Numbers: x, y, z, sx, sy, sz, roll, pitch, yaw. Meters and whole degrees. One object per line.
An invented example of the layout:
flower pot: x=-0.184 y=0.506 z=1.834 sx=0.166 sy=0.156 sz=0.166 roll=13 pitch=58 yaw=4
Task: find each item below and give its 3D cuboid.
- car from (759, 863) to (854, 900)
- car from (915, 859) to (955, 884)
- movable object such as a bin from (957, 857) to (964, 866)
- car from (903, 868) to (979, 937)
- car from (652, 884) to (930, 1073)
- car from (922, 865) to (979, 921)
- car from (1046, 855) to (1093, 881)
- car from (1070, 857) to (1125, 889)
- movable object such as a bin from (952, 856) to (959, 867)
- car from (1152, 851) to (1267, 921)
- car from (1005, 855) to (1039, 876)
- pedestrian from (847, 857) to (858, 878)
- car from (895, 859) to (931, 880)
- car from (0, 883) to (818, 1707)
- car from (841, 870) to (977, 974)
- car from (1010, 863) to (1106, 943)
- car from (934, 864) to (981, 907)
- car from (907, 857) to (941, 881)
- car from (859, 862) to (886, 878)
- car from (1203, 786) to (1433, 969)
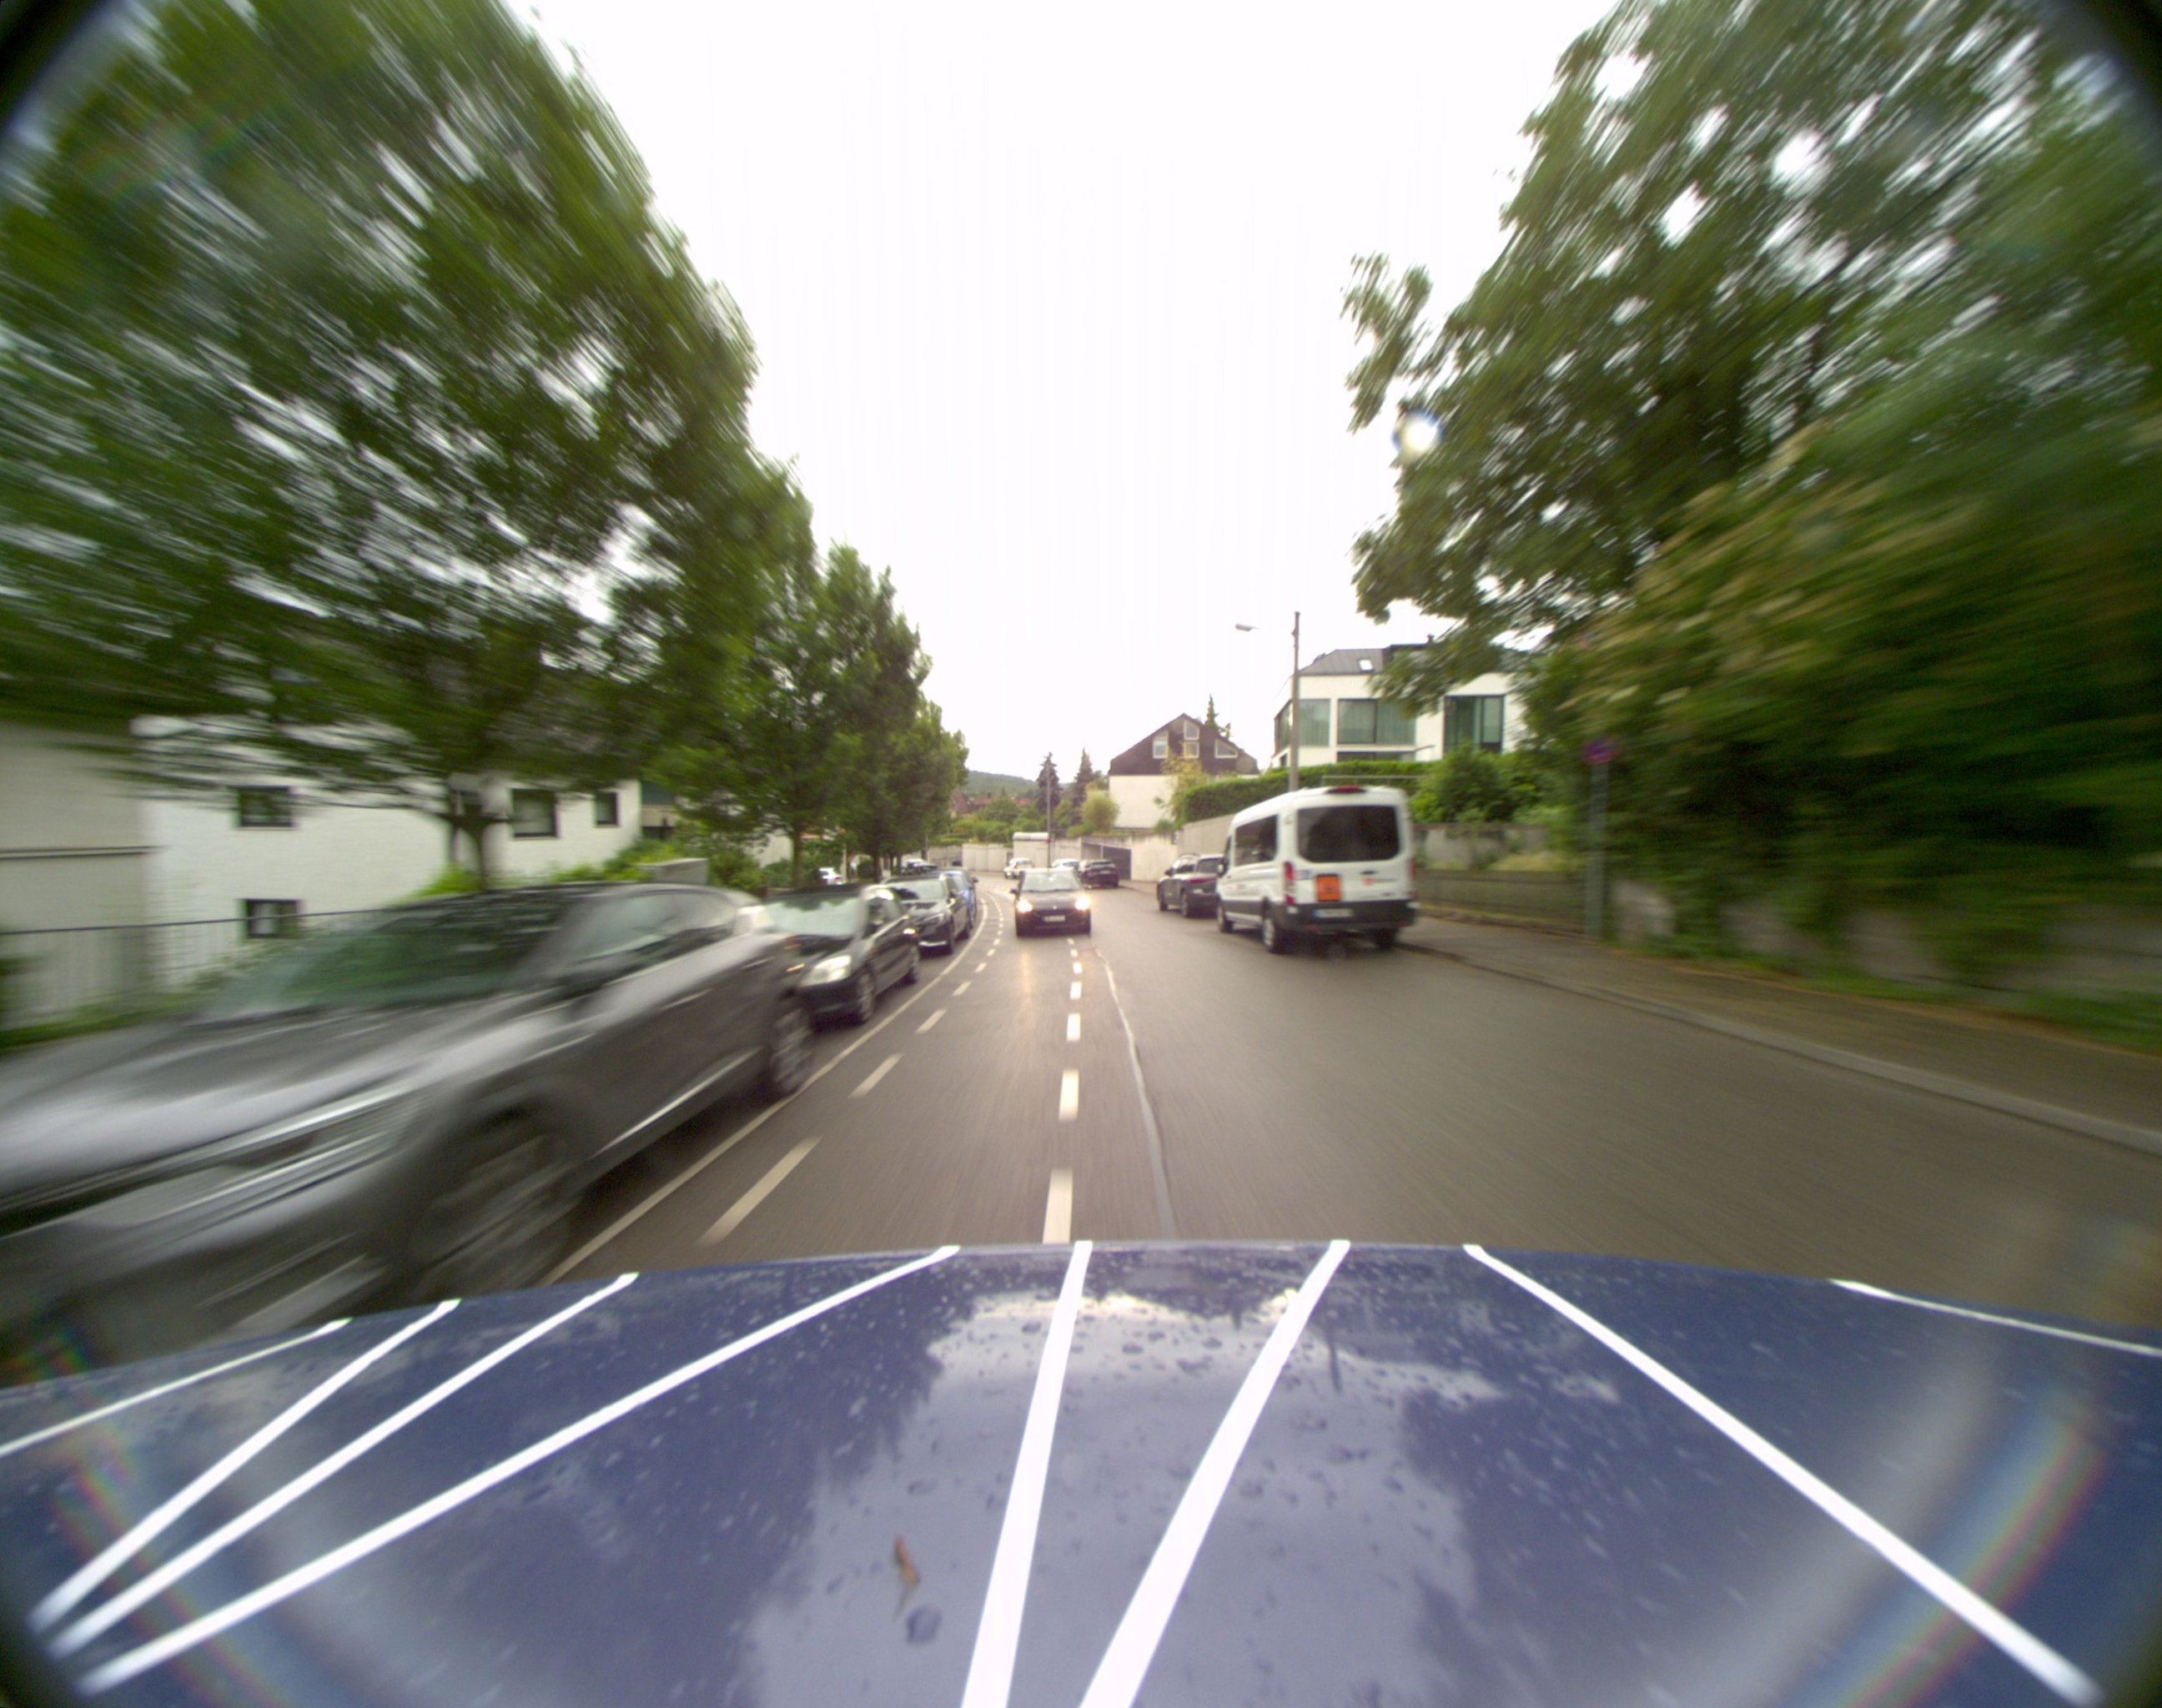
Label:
car: x=-14.471 y=1.417 z=40.283 sx=4.316 sy=1.457 sz=1.932 roll=-5 pitch=3 yaw=-8
car: x=-10.090 y=1.184 z=52.167 sx=1.869 sy=1.461 sz=5.047 roll=-5 pitch=2 yaw=-19
movable object such as a bin: x=-13.577 y=0.830 z=85.563 sx=0.609 sy=0.986 sz=0.601 roll=-4 pitch=2 yaw=11
car: x=-3.745 y=1.241 z=20.915 sx=1.659 sy=1.510 sz=3.997 roll=-4 pitch=1 yaw=-6
car: x=-3.059 y=1.220 z=9.055 sx=1.647 sy=1.416 sz=4.287 roll=-4 pitch=0 yaw=-1
car: x=-4.215 y=1.228 z=24.933 sx=1.631 sy=1.554 sz=3.020 roll=-3 pitch=1 yaw=-7
car: x=-0.771 y=0.832 z=45.861 sx=1.839 sy=1.431 sz=4.034 roll=-2 pitch=1 yaw=-15
car: x=0.753 y=0.939 z=39.189 sx=1.719 sy=1.451 sz=4.677 roll=-2 pitch=1 yaw=-13
movable object such as a bin: x=-14.155 y=0.857 z=85.693 sx=0.528 sy=1.140 sz=0.601 roll=-3 pitch=3 yaw=11
car: x=3.444 y=0.801 z=21.271 sx=1.902 sy=1.681 sz=4.542 roll=-2 pitch=0 yaw=-7
car: x=-4.494 y=0.843 z=57.347 sx=1.633 sy=1.507 sz=3.826 roll=-2 pitch=0 yaw=-19
pedestrian: x=-18.335 y=1.060 z=60.992 sx=0.763 sy=1.710 sz=0.901 roll=0 pitch=0 yaw=-24
car: x=-13.946 y=1.287 z=62.817 sx=1.863 sy=1.572 sz=4.848 roll=-3 pitch=1 yaw=-24
car: x=-2.923 y=1.057 z=3.615 sx=1.718 sy=1.547 sz=4.164 roll=-4 pitch=0 yaw=1
car: x=-3.268 y=1.217 z=15.431 sx=1.781 sy=1.544 sz=4.727 roll=-4 pitch=0 yaw=-3
car: x=-0.671 y=1.064 z=18.170 sx=1.893 sy=1.521 sz=4.054 roll=-3 pitch=1 yaw=-7
car: x=-5.039 y=1.235 z=31.144 sx=1.674 sy=1.462 sz=3.707 roll=-4 pitch=1 yaw=-9
car: x=-11.965 y=1.100 z=57.650 sx=2.062 sy=1.646 sz=5.228 roll=-3 pitch=1 yaw=-16
car: x=-21.259 y=1.623 z=77.273 sx=1.664 sy=1.481 sz=3.991 roll=-5 pitch=2 yaw=-29
car: x=3.863 y=0.344 z=13.866 sx=2.100 sy=2.535 sz=6.096 roll=-2 pitch=0 yaw=-1
